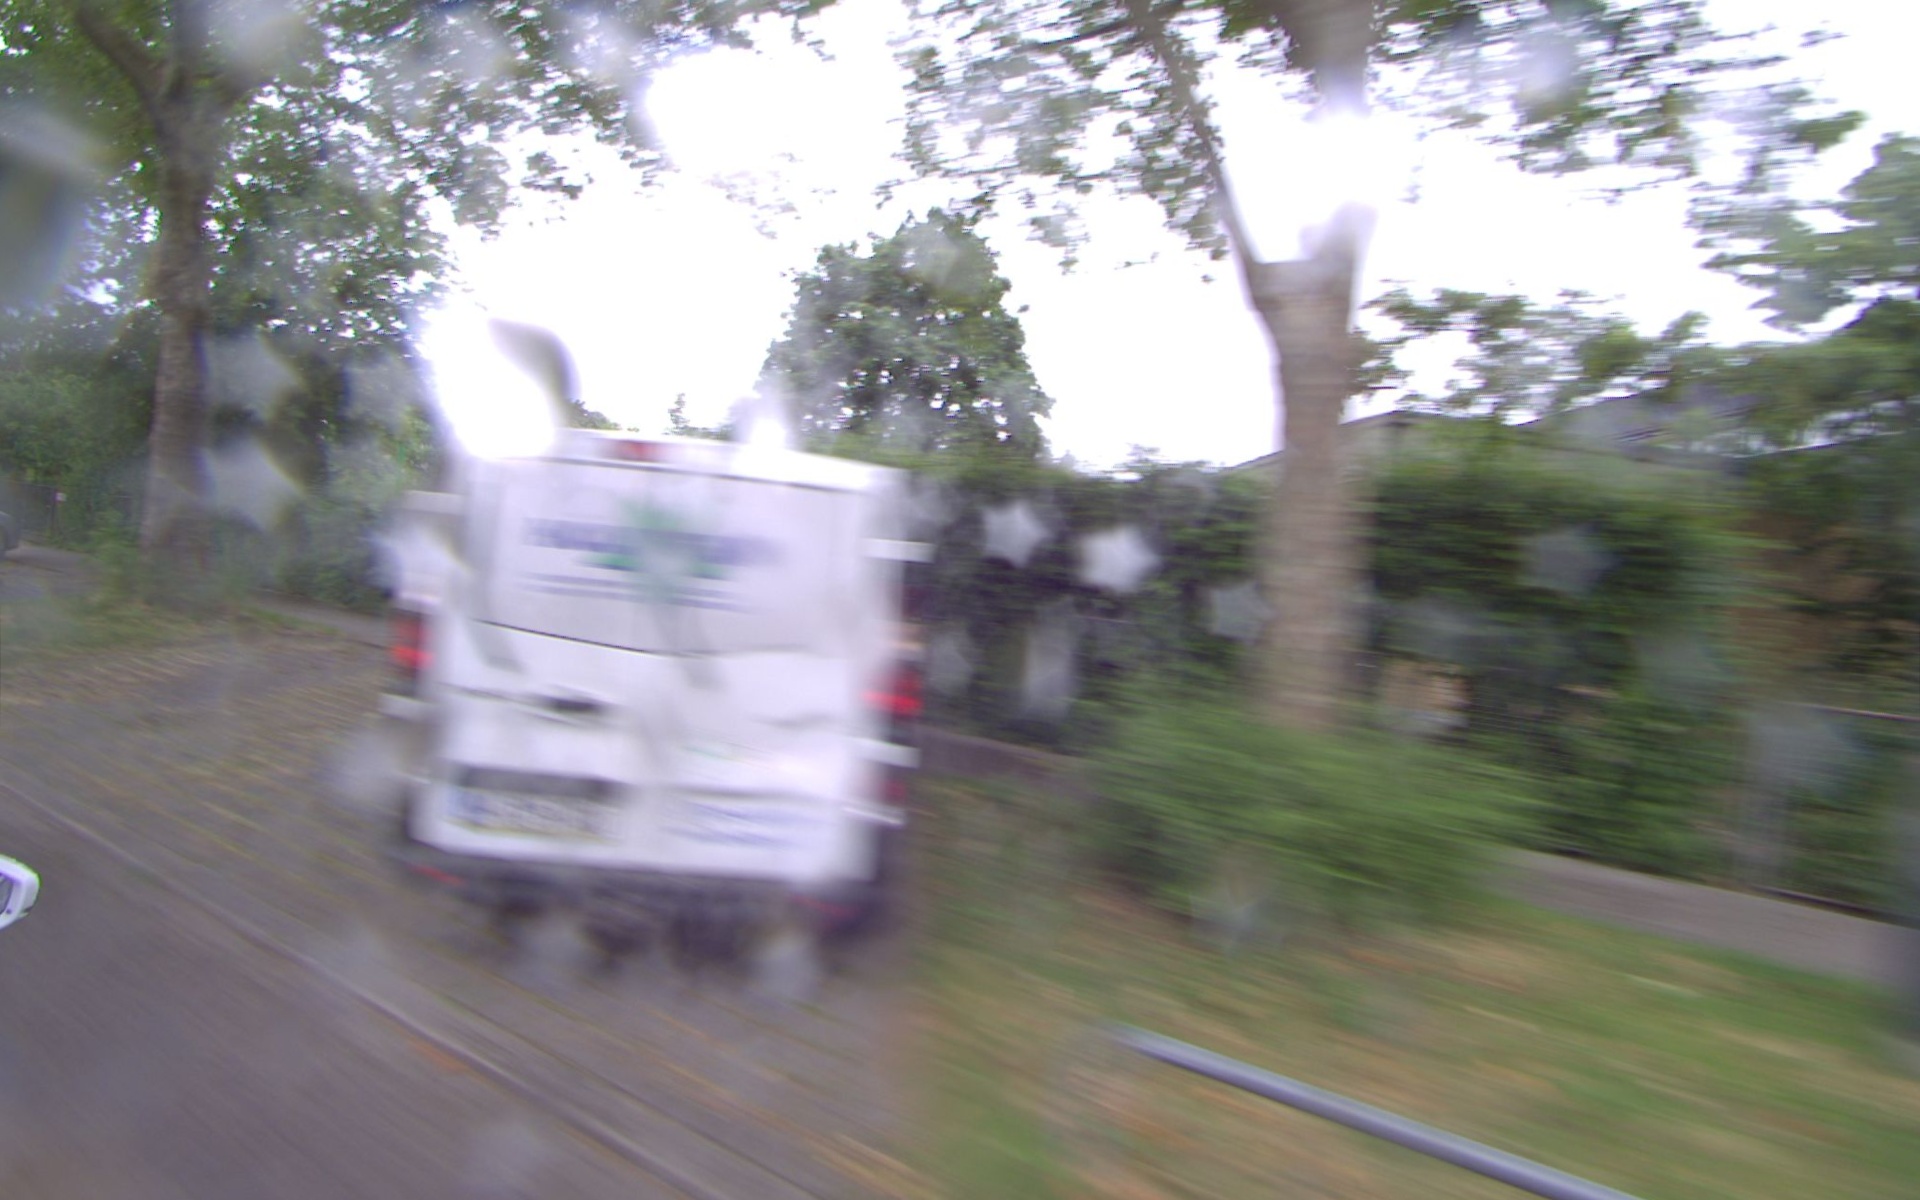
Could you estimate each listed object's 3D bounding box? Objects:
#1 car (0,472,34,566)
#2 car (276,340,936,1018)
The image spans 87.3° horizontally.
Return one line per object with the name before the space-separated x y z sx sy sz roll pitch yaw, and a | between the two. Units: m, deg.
car | -17.064 -1.386 15.208 1.853 1.566 4.554 7 3 0
car | -1.301 0.218 5.847 1.964 2.040 5.023 7 2 -3
